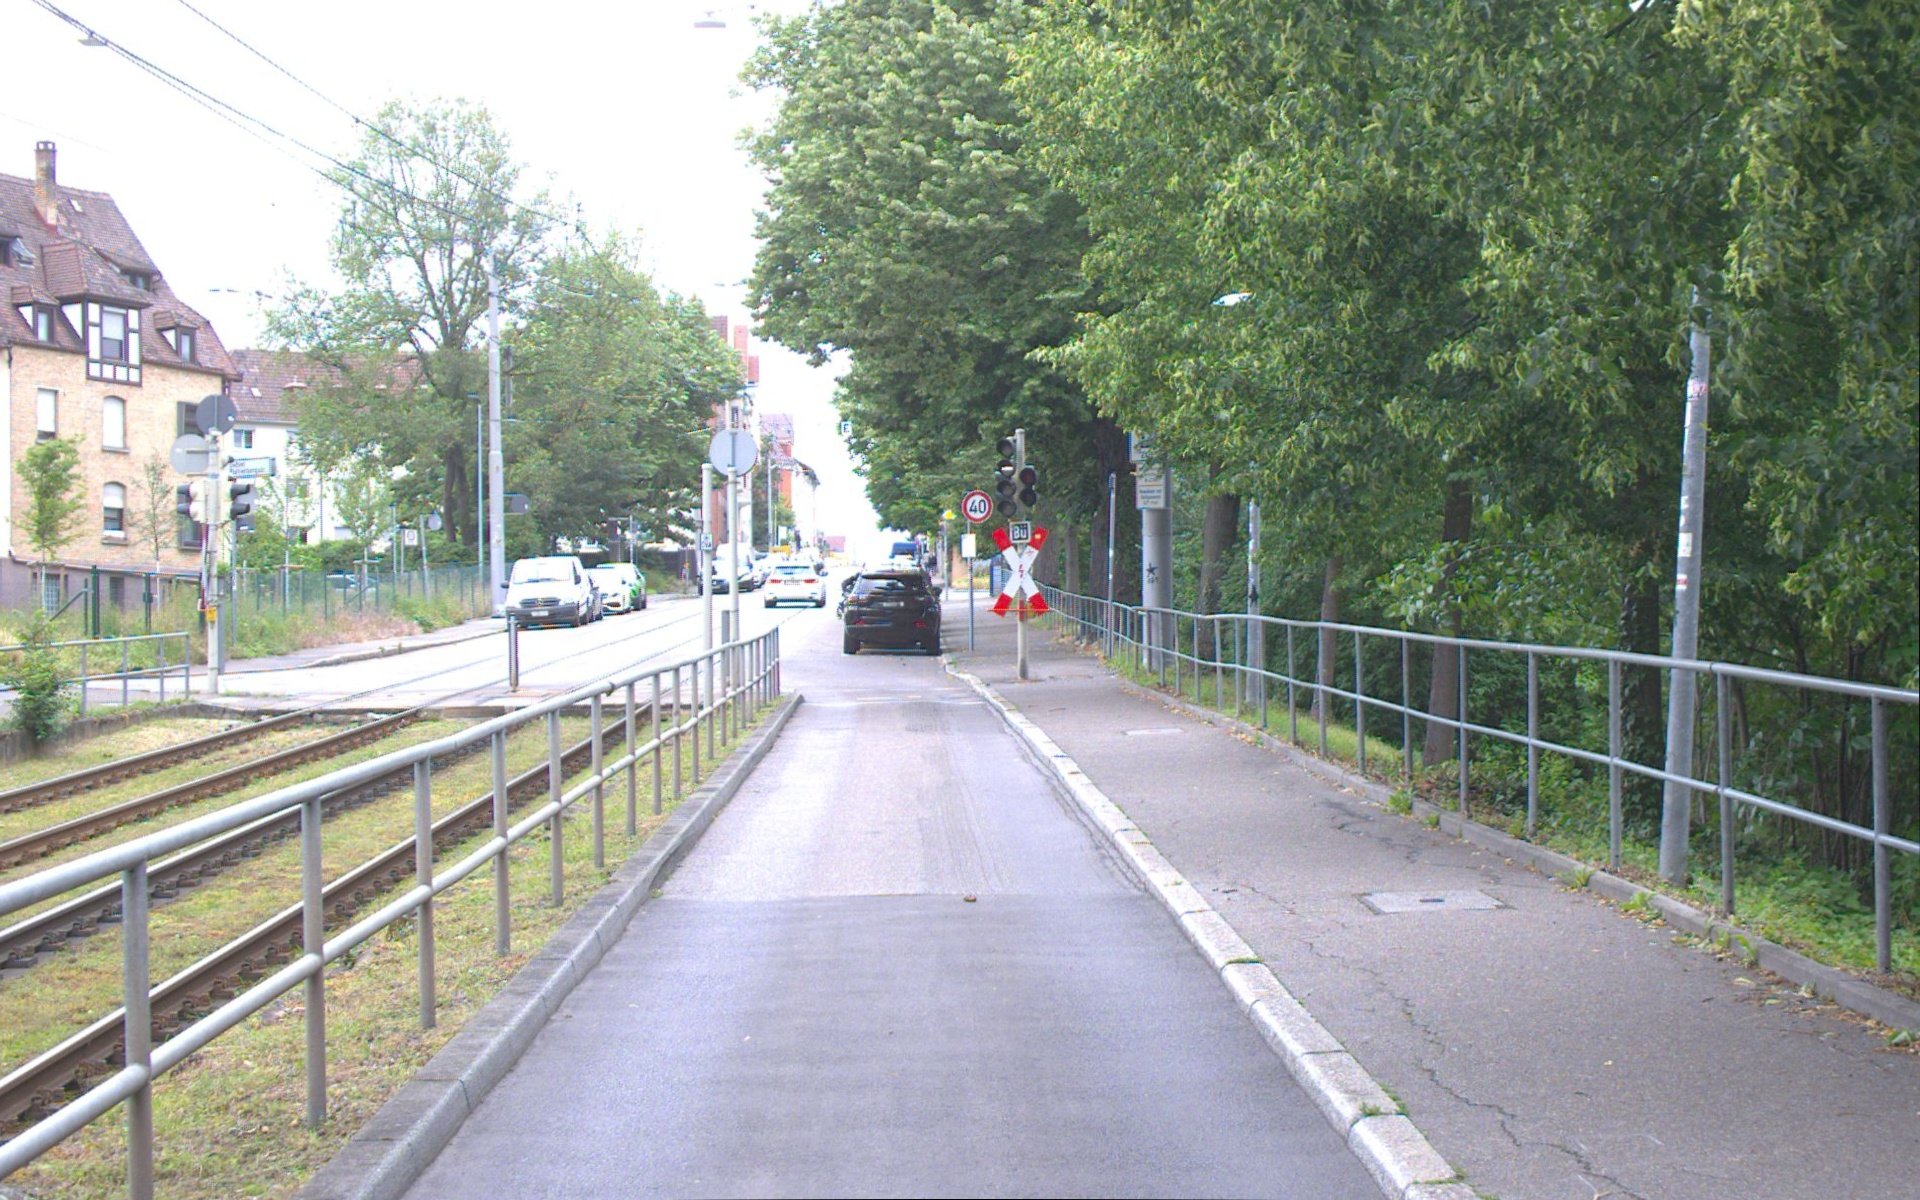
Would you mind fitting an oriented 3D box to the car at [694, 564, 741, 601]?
[{"bbox_3d":[-12.126,-0.880,172.014,1.993,1.802,4.000,0,0,1],"label":"car"}]

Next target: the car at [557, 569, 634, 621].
[{"bbox_3d":[-11.189,-0.168,105.757,1.885,1.521,4.663,-2,0,-1],"label":"car"}]

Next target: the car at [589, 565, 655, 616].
[{"bbox_3d":[-10.960,-0.310,111.554,1.723,1.574,4.181,-2,1,0],"label":"car"}]

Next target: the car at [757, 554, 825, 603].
[{"bbox_3d":[-5.291,-0.663,108.302,1.993,1.493,4.312,0,0,-1],"label":"car"}]

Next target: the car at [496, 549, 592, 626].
[{"bbox_3d":[-11.015,-0.322,91.388,2.035,1.875,4.885,-3,0,-2],"label":"car"}]

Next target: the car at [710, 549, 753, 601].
[{"bbox_3d":[-12.390,-1.331,186.505,2.230,2.755,5.800,0,0,-3],"label":"car"}]

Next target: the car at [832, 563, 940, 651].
[{"bbox_3d":[-1.381,0.105,65.684,1.904,1.609,4.600,1,1,1],"label":"car"}]
